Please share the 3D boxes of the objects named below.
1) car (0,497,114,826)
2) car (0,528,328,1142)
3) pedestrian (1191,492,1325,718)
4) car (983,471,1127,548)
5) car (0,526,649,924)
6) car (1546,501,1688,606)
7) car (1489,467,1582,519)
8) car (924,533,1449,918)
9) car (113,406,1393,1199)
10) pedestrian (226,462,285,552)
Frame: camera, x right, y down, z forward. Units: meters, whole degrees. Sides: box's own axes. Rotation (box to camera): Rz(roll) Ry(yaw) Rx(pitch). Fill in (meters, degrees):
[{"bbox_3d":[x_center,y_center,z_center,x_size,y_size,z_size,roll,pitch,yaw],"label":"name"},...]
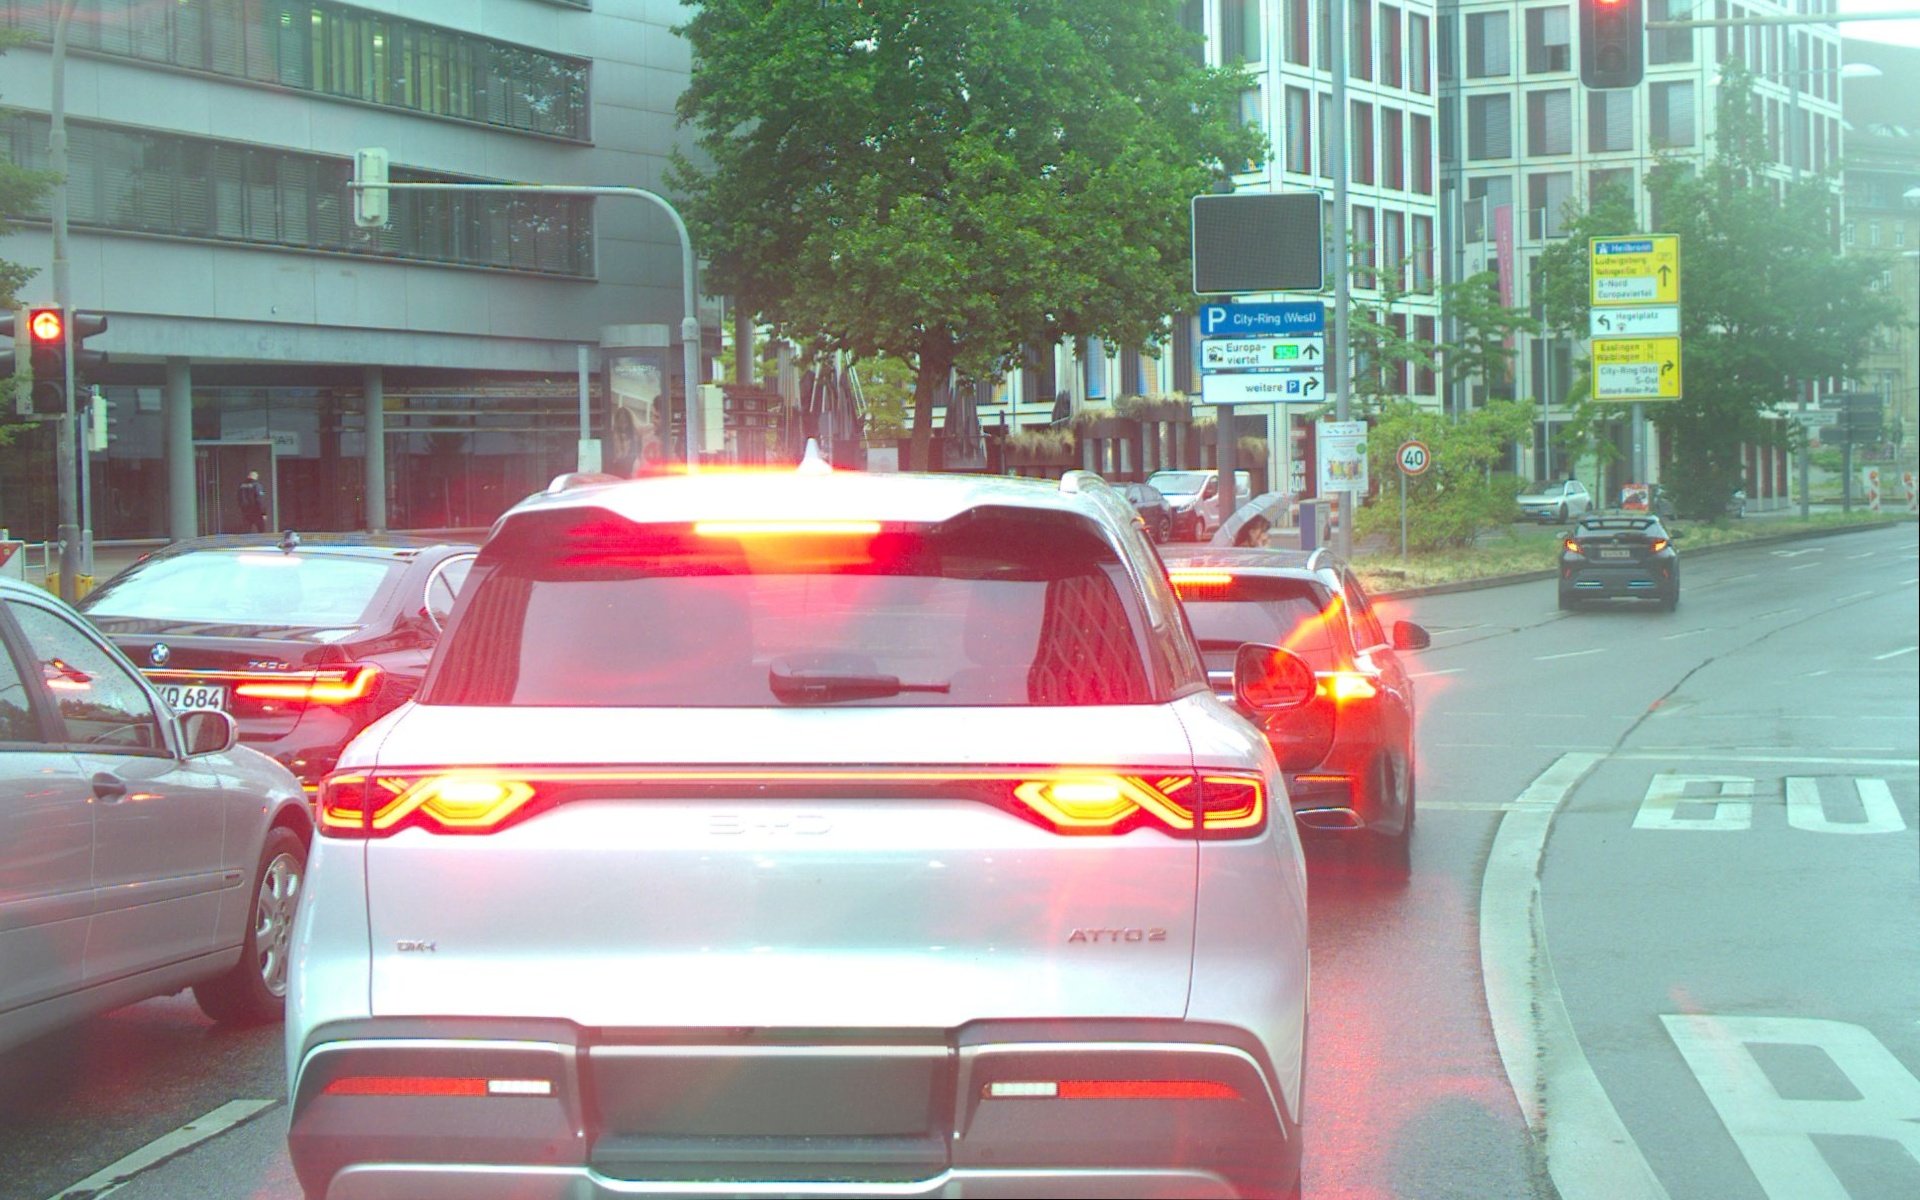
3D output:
[{"bbox_3d":[-5.714,0.308,16.072,1.886,1.590,3.998,0,1,12],"label":"car"},{"bbox_3d":[-3.109,0.567,9.024,1.682,1.481,4.196,0,1,7],"label":"car"},{"bbox_3d":[2.310,0.028,26.702,0.921,1.732,0.730,0,1,-5],"label":"pedestrian"},{"bbox_3d":[2.264,-2.152,81.108,1.996,1.700,3.995,1,3,24],"label":"car"},{"bbox_3d":[-2.890,0.439,15.438,1.956,1.525,3.998,0,1,11],"label":"car"},{"bbox_3d":[10.299,-0.758,53.697,1.995,1.546,3.998,1,2,13],"label":"car"},{"bbox_3d":[20.041,-3.728,119.552,1.996,1.700,4.303,1,3,27],"label":"car"},{"bbox_3d":[1.184,0.462,15.935,1.956,1.525,3.998,0,1,11],"label":"car"},{"bbox_3d":[-0.190,0.507,7.624,1.994,1.703,4.482,-1,1,4],"label":"car"},{"bbox_3d":[-13.591,-1.791,66.340,0.728,1.721,0.924,0,1,21],"label":"pedestrian"}]
